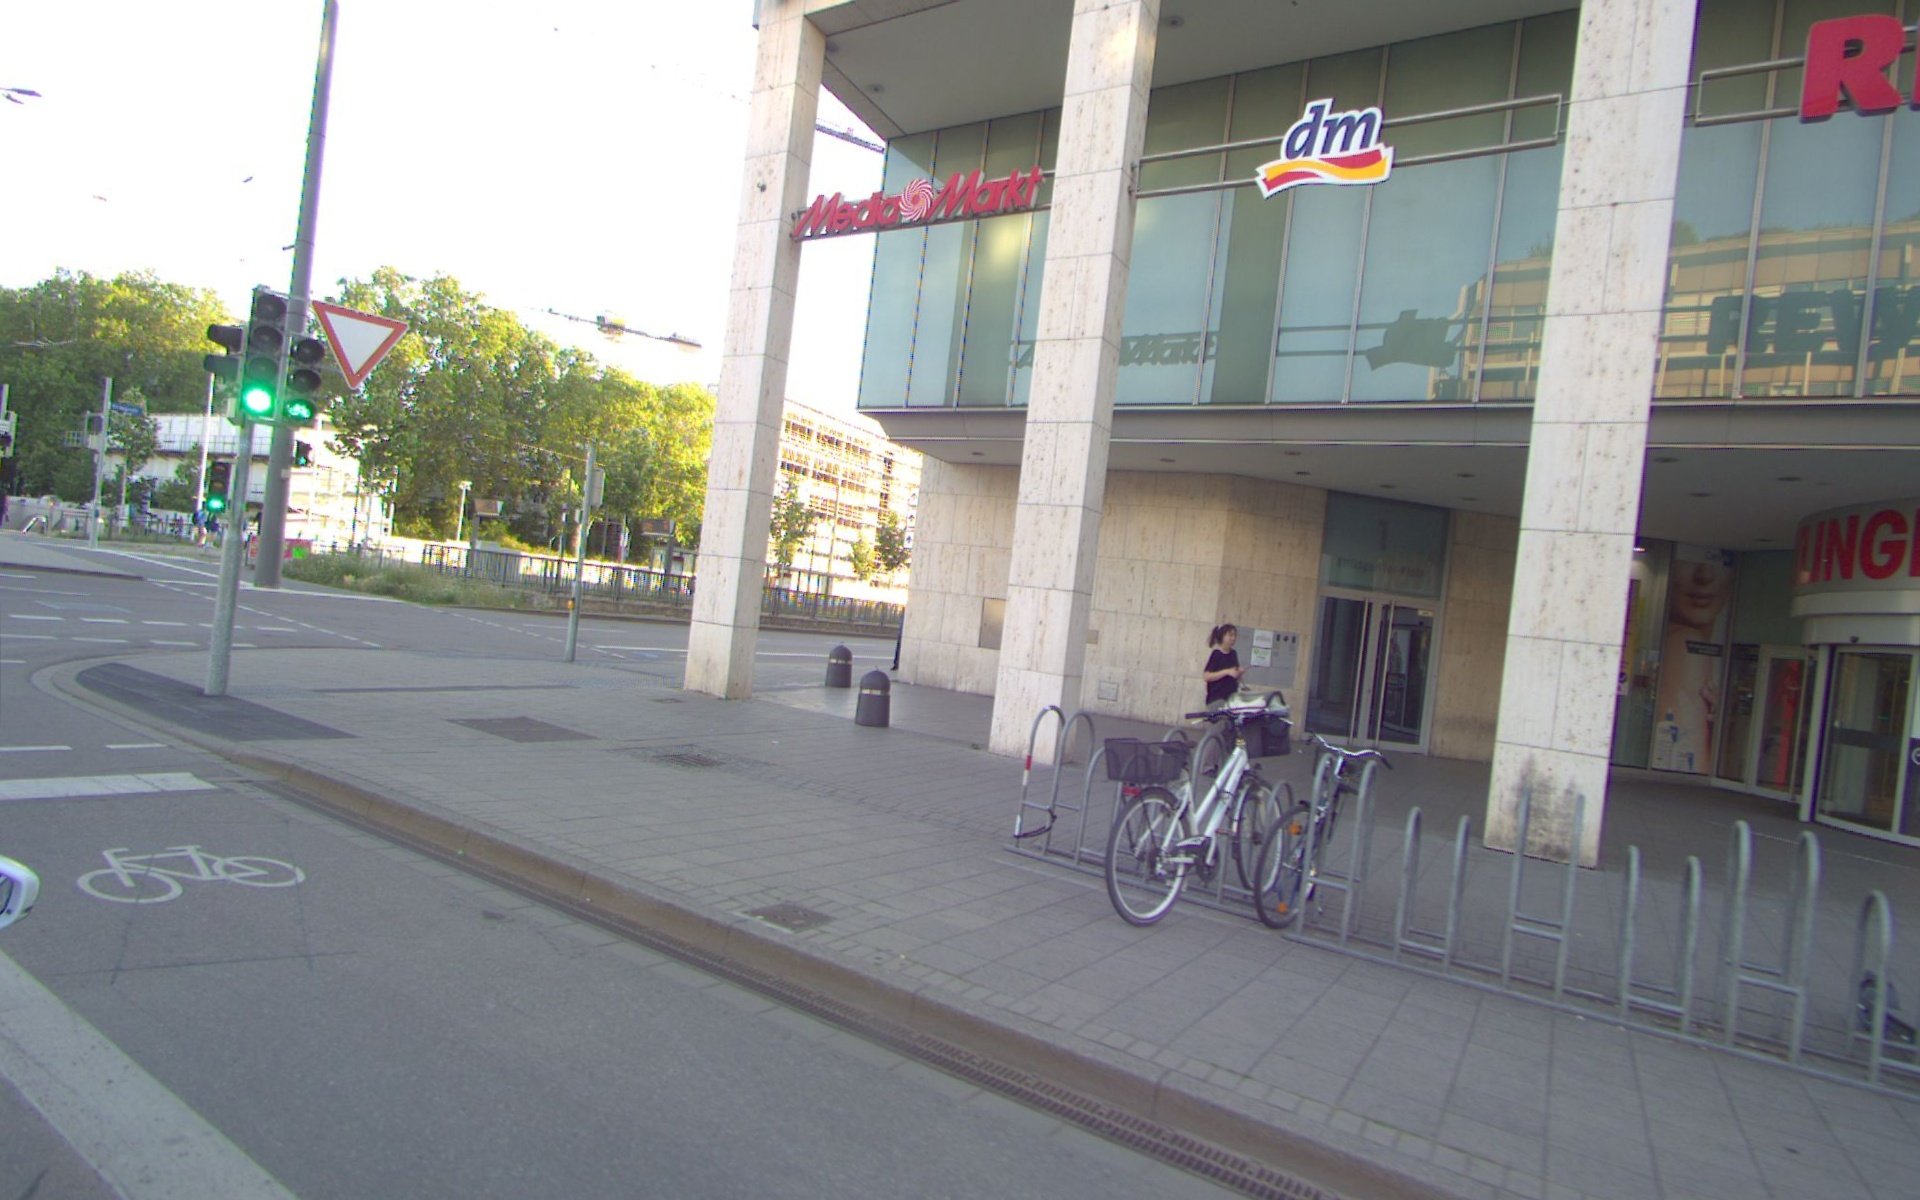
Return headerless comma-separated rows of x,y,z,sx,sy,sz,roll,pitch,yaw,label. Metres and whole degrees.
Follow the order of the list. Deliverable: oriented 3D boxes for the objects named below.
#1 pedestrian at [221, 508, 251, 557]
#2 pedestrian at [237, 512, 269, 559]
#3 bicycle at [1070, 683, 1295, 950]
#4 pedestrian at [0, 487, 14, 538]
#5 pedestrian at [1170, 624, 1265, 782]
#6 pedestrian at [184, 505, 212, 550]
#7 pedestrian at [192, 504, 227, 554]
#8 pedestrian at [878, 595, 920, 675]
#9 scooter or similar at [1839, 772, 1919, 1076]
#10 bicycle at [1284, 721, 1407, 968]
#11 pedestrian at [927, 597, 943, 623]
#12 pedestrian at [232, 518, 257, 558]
-27.446,-2.553,38.136,0.708,1.746,0.661,6,1,-41,pedestrian
-28.248,-2.560,40.212,0.657,1.746,0.712,7,0,30,pedestrian
1.266,1.093,5.513,0.540,1.198,1.479,7,0,36,bicycle
-34.817,-3.200,36.320,0.790,1.813,0.803,7,1,44,pedestrian
2.936,1.155,11.457,0.696,1.659,0.792,7,0,30,pedestrian
-28.889,-2.743,38.150,0.527,1.612,0.571,7,1,32,pedestrian
-28.060,-2.633,37.605,0.702,1.746,0.666,6,0,-16,pedestrian
-1.403,0.810,23.141,0.579,1.746,0.668,7,0,20,pedestrian
4.560,1.474,4.547,0.484,1.214,1.196,7,0,27,scooter or similar
2.334,1.343,5.986,0.474,1.091,1.773,7,0,24,bicycle
-1.685,0.662,67.536,0.657,1.690,0.574,7,1,37,pedestrian
-27.756,-2.399,39.016,0.672,1.459,0.707,6,0,-36,pedestrian
